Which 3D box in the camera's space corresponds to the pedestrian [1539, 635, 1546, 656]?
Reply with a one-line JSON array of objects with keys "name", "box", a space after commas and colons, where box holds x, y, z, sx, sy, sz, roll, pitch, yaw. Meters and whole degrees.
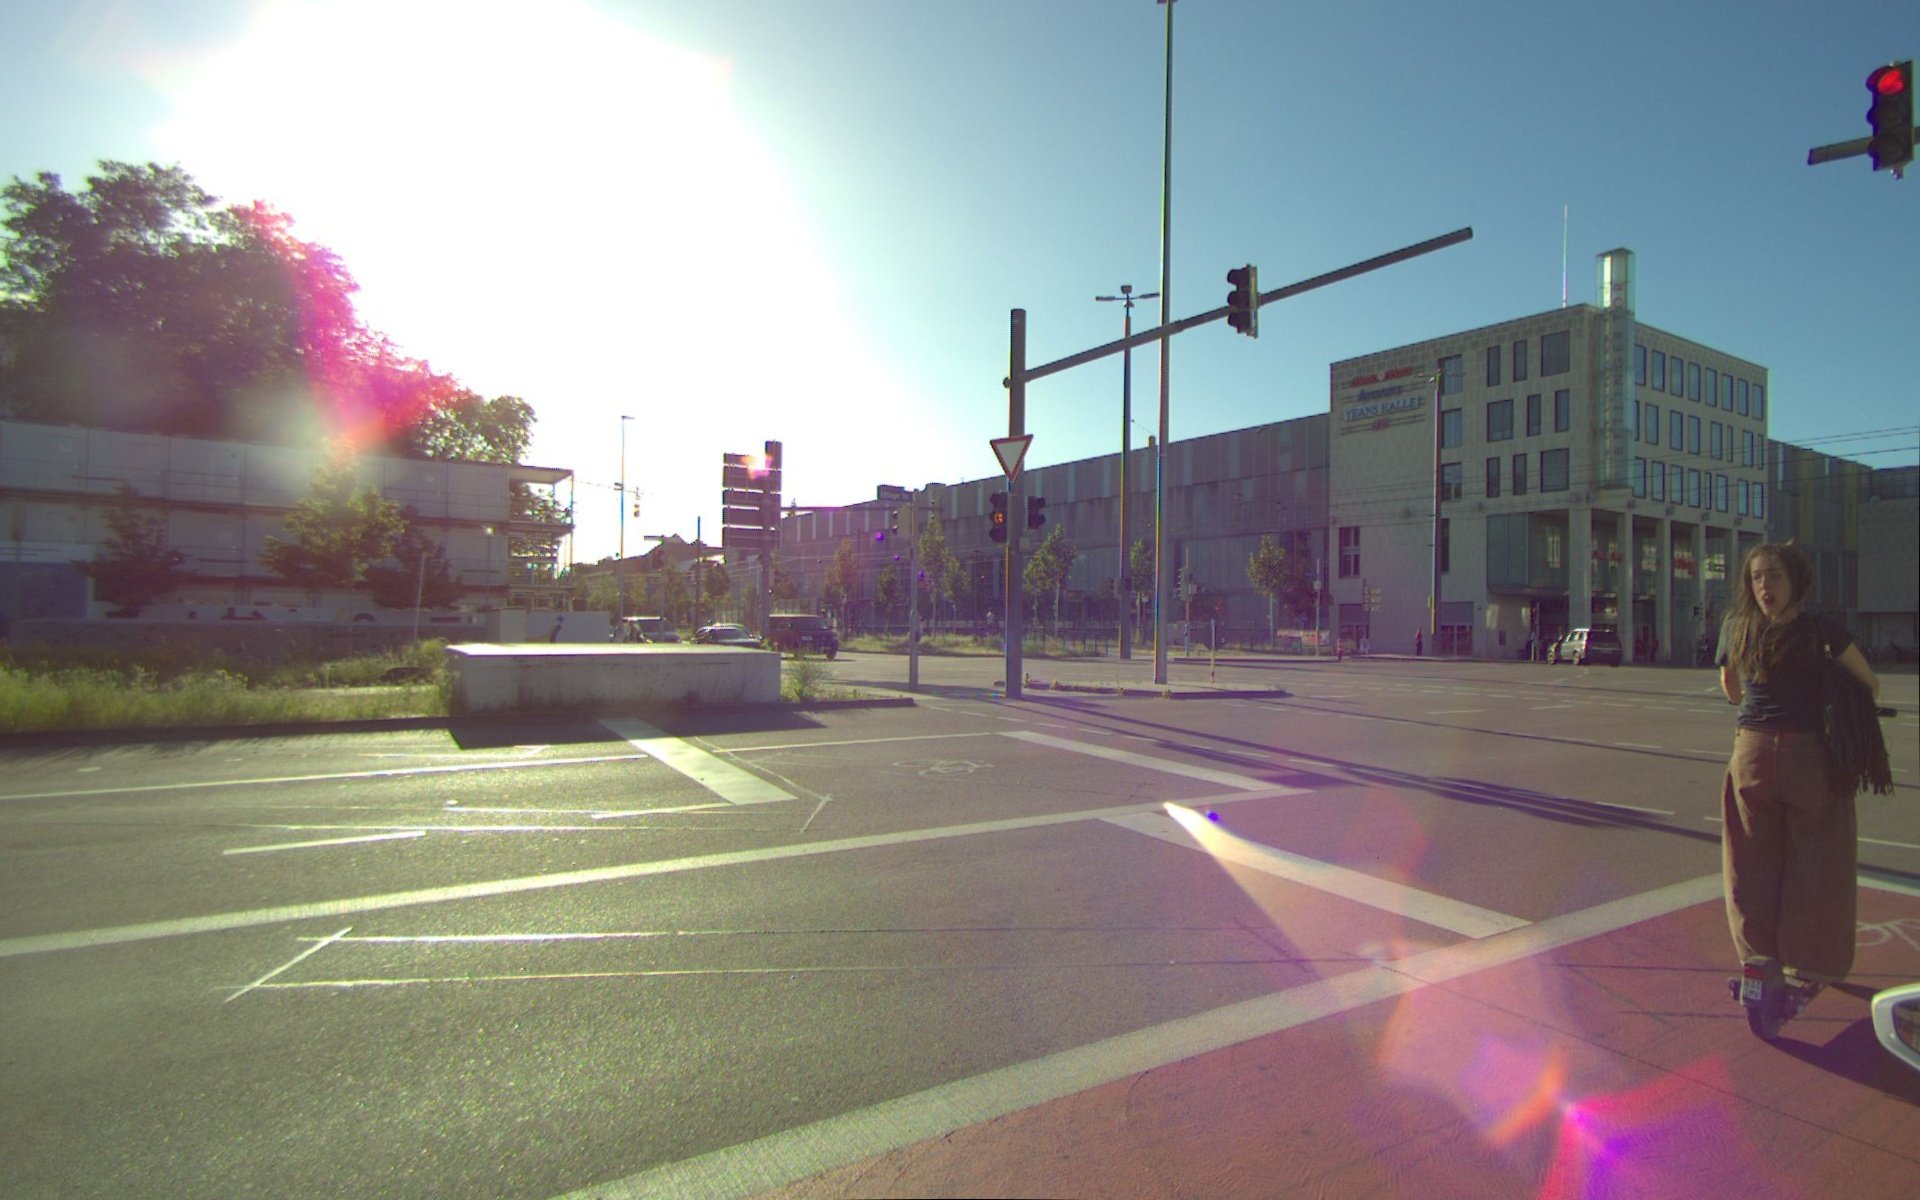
[{"name": "pedestrian", "box": [39.500, 3.092, 68.149, 0.381, 1.445, 0.501, 0, -1, 32]}]

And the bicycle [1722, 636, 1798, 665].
[{"name": "bicycle", "box": [49.141, 3.084, 61.744, 1.107, 1.719, 3.465, 1, -2, -38]}]

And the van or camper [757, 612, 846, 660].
[{"name": "van or camper", "box": [-7.271, 1.599, 45.658, 1.981, 2.040, 4.821, 1, -2, -36]}]

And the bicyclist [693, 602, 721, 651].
[{"name": "bicyclist", "box": [-14.063, 1.476, 55.707, 1.007, 2.677, 1.610, 1, -1, -34]}]

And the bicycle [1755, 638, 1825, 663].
[{"name": "bicycle", "box": [55.254, 3.334, 66.926, 0.979, 1.547, 3.462, 2, -2, -40]}]

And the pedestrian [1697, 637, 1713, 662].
[{"name": "pedestrian", "box": [49.714, 3.283, 67.018, 0.776, 1.664, 0.691, -1, -2, 43]}]

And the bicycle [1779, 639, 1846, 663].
[{"name": "bicycle", "box": [58.872, 3.484, 69.394, 0.979, 1.547, 3.462, 2, -2, -40]}]

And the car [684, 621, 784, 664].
[{"name": "car", "box": [-9.401, 1.709, 41.519, 2.313, 1.671, 4.821, 1, -2, -37]}]

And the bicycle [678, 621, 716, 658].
[{"name": "bicycle", "box": [-14.918, 2.222, 56.927, 1.007, 2.040, 3.472, 1, -2, -33]}]

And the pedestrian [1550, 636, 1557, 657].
[{"name": "pedestrian", "box": [40.110, 3.130, 67.889, 0.381, 1.431, 0.437, 0, -1, 32]}]

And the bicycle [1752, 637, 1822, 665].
[{"name": "bicycle", "box": [54.503, 3.325, 66.258, 0.979, 1.719, 3.462, 1, -2, -40]}]

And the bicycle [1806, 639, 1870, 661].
[{"name": "bicycle", "box": [64.504, 3.650, 73.857, 0.979, 1.547, 3.462, 2, -2, -40]}]

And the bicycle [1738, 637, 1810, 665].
[{"name": "bicycle", "box": [51.943, 3.232, 64.164, 0.979, 1.719, 3.462, 1, -2, -40]}]

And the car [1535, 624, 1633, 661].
[{"name": "car", "box": [28.311, 1.922, 45.740, 1.960, 1.628, 4.484, 0, -2, 5]}]

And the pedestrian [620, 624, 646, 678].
[{"name": "pedestrian", "box": [-10.402, 1.610, 31.938, 0.619, 1.674, 0.935, 1, -1, -30]}]

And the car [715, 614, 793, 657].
[{"name": "car", "box": [-10.393, 1.734, 50.424, 1.981, 2.040, 4.821, 1, -2, -36]}]

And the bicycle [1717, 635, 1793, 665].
[{"name": "bicycle", "box": [48.213, 3.017, 60.944, 1.107, 1.719, 3.465, 1, -2, -38]}]

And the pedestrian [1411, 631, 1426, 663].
[{"name": "pedestrian", "box": [24.395, 2.494, 53.422, 0.543, 1.716, 0.521, 1, -1, -40]}]

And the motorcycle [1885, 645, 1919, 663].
[{"name": "motorcycle", "box": [70.744, 4.022, 75.089, 0.713, 1.335, 2.260, 1, -2, -34]}]

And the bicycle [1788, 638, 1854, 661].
[{"name": "bicycle", "box": [60.379, 3.438, 70.476, 0.979, 1.547, 3.462, 2, -2, -40]}]

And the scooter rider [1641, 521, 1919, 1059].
[{"name": "scooter rider", "box": [3.242, 0.644, 3.885, 0.801, 1.798, 0.725, 1, -1, -30]}]

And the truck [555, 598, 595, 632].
[{"name": "truck", "box": [-33.480, 1.332, 87.257, 1.979, 2.875, 6.293, 1, -2, -33]}]

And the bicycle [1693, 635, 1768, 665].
[{"name": "bicycle", "box": [46.613, 3.031, 60.834, 1.107, 1.719, 3.465, 1, -2, -38]}]

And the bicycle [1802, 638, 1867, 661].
[{"name": "bicycle", "box": [63.704, 3.594, 73.208, 0.979, 1.547, 3.462, 2, -2, -40]}]

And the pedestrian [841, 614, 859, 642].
[{"name": "pedestrian", "box": [-7.170, 1.829, 65.697, 0.889, 1.855, 0.787, 1, -1, -35]}]

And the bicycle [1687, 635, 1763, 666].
[{"name": "bicycle", "box": [45.697, 2.981, 60.038, 1.107, 1.719, 3.465, 1, -2, -38]}]

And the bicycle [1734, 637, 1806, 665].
[{"name": "bicycle", "box": [51.117, 3.195, 63.429, 0.979, 1.719, 3.462, 1, -2, -40]}]

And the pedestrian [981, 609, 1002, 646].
[{"name": "pedestrian", "box": [1.581, 1.371, 50.599, 0.788, 1.855, 0.706, 1, -1, -37]}]

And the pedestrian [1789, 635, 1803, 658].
[{"name": "pedestrian", "box": [61.798, 3.407, 74.276, 0.689, 1.664, 0.648, 1, -1, -38]}]

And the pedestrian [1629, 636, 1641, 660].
[{"name": "pedestrian", "box": [44.287, 3.142, 65.885, 0.508, 1.606, 0.479, 1, -1, -34]}]

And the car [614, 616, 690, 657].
[{"name": "car", "box": [-14.827, 1.709, 48.143, 1.981, 1.849, 4.821, 1, -2, -36]}]

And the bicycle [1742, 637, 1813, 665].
[{"name": "bicycle", "box": [52.857, 3.263, 64.968, 0.979, 1.719, 3.462, 1, -2, -40]}]

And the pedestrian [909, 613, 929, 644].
[{"name": "pedestrian", "box": [-2.433, 1.691, 59.777, 0.889, 1.855, 0.787, 1, -1, -35]}]

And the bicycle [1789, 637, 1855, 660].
[{"name": "bicycle", "box": [61.186, 3.456, 71.308, 0.979, 1.547, 3.462, 2, -2, -40]}]

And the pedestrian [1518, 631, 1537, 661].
[{"name": "pedestrian", "box": [34.739, 2.813, 61.482, 0.730, 1.822, 0.751, 1, -1, -38]}]

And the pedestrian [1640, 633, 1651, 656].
[{"name": "pedestrian", "box": [44.968, 2.907, 65.887, 0.508, 1.530, 0.479, 1, -1, -34]}]

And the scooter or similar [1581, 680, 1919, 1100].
[{"name": "scooter or similar", "box": [3.207, 0.956, 3.845, 1.645, 1.218, 0.725, 1, -1, -30]}]
